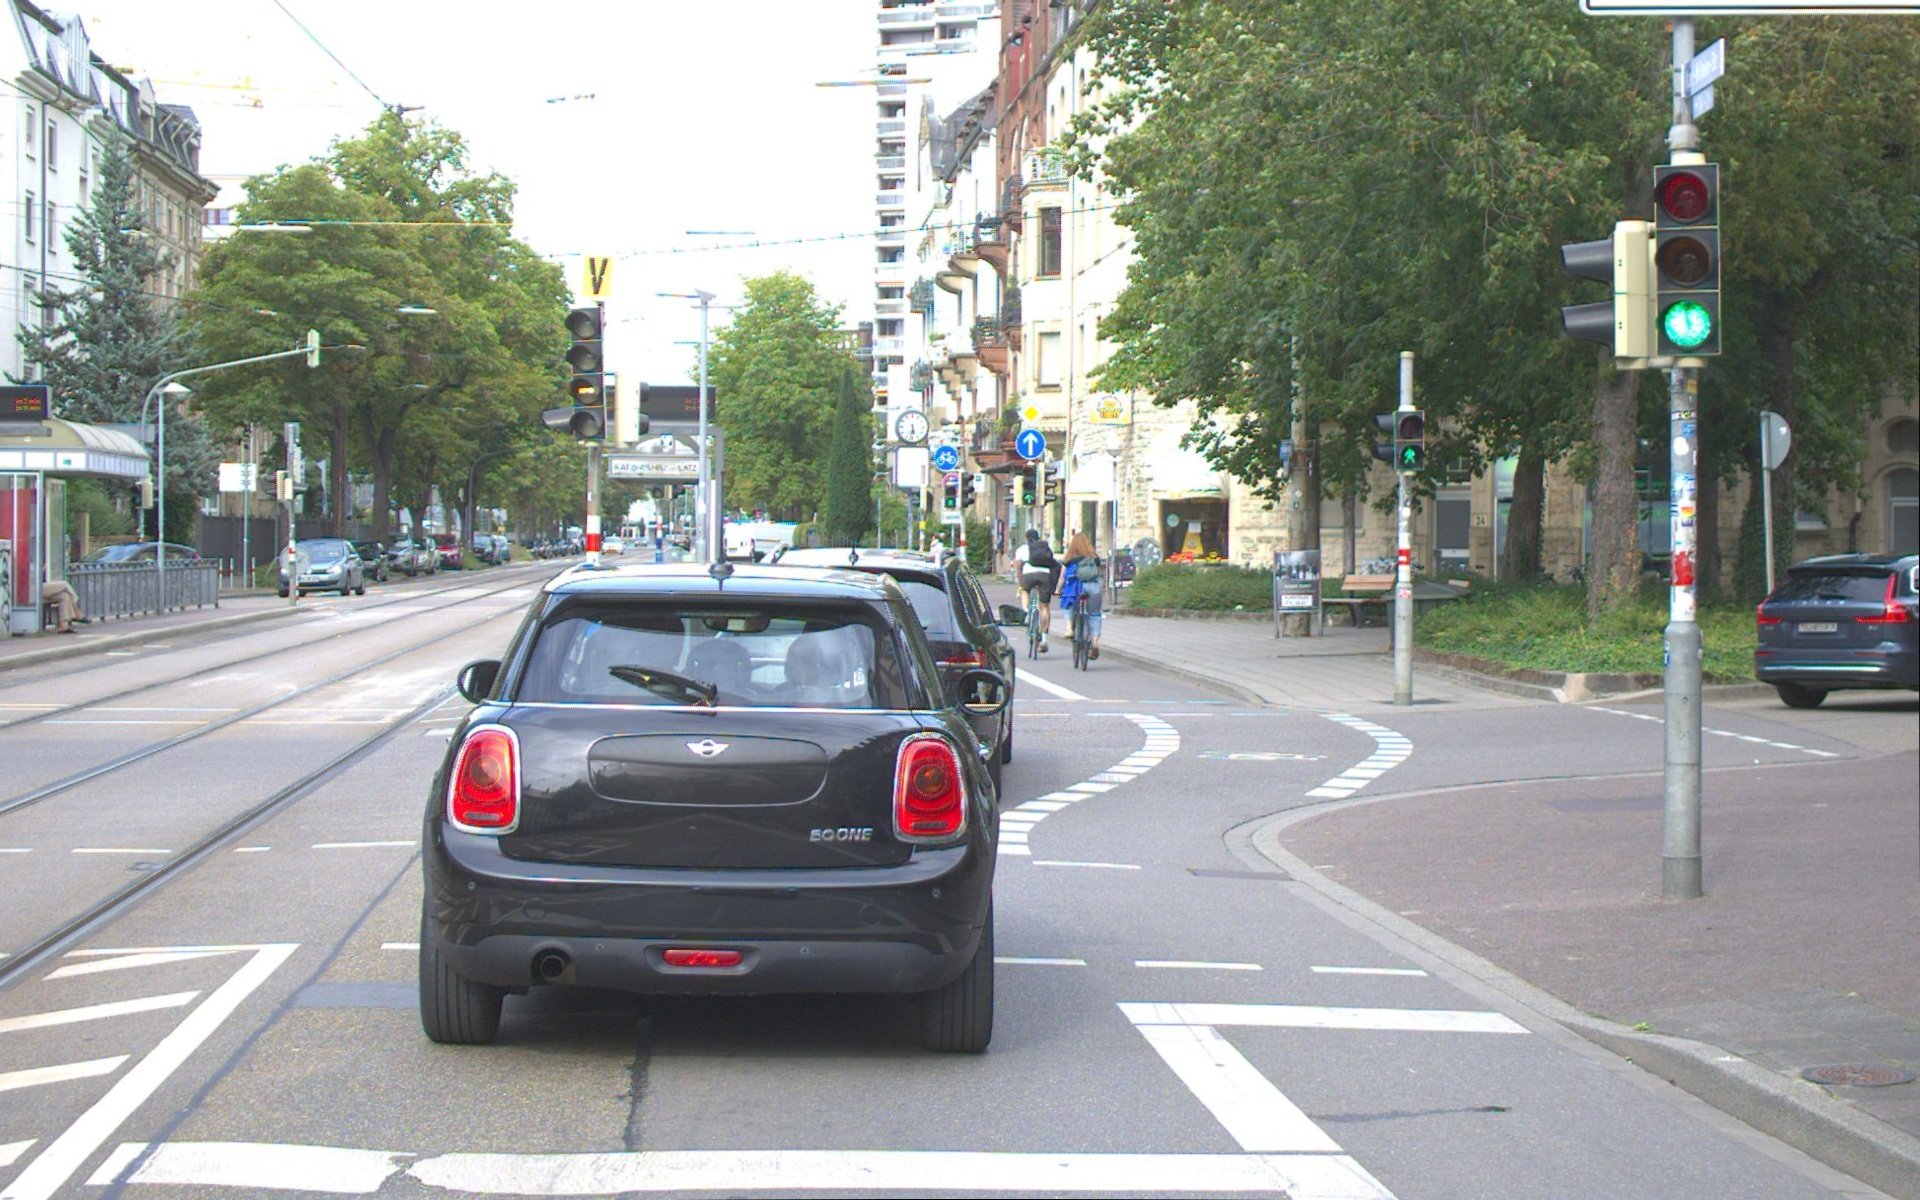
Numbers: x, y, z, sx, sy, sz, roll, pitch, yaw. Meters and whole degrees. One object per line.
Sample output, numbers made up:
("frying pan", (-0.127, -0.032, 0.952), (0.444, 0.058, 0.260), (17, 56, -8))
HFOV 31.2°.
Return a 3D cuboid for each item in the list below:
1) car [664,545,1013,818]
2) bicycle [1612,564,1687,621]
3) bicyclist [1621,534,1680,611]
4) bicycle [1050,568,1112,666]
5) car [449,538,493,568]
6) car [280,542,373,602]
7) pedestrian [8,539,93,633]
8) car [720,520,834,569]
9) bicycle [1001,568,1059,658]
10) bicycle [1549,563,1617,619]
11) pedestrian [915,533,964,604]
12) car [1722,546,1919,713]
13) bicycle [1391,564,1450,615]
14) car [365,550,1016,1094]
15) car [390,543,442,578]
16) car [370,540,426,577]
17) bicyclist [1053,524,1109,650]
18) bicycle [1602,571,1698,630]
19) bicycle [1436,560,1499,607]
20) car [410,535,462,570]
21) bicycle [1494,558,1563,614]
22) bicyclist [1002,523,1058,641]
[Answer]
("car", (-0.712, 0.422, 21.073), (1.927, 1.504, 4.000), (0, 1, -1))
("bicycle", (13.785, -0.153, 68.691), (0.667, 1.124, 1.889), (1, 1, 38))
("bicyclist", (13.143, -0.531, 65.454), (0.615, 1.468, 0.915), (-1, 1, -39))
("bicycle", (1.484, 0.195, 42.447), (0.598, 1.166, 1.697), (0, 1, -4))
("car", (-25.541, -2.474, 179.698), (1.993, 1.546, 4.001), (0, 1, -4))
("car", (-16.186, -0.725, 87.965), (1.751, 1.436, 4.001), (2, 1, -2))
("pedestrian", (-12.715, -0.202, 48.077), (1.058, 1.289, 0.986), (0, 1, -9))
("car", (-8.682, -2.630, 163.277), (5.026, 2.265, 2.396), (-1, 1, -44))
("bicycle", (0.934, 0.169, 46.135), (0.684, 1.166, 1.697), (0, 1, -2))
("bicycle", (12.657, -0.192, 69.845), (0.532, 1.124, 1.889), (1, 1, 38))
("pedestrian", (-0.505, -0.770, 83.303), (0.732, 1.668, 0.833), (-2, 2, 43))
("car", (9.092, 0.224, 31.899), (4.467, 1.436, 1.756), (-1, 1, -44))
("bicycle", (9.754, -0.222, 72.754), (0.449, 1.051, 1.645), (1, 1, 38))
("car", (-0.778, 0.588, 11.522), (1.751, 1.436, 4.000), (2, 1, -1))
("car", (-21.791, -1.604, 137.832), (1.766, 1.390, 4.001), (0, 1, -5))
("car", (-21.272, -1.573, 130.174), (1.766, 1.390, 4.001), (0, 1, -5))
("bicyclist", (1.488, -0.169, 42.437), (0.594, 1.545, 1.014), (0, 1, -4))
("bicycle", (13.128, 0.001, 65.482), (0.615, 1.073, 1.820), (-1, 1, -39))
("bicycle", (10.628, -0.351, 71.962), (0.532, 0.969, 1.645), (1, 1, 38))
("car", (-23.894, -2.173, 156.783), (1.993, 1.546, 4.001), (0, 1, -4))
("bicycle", (11.684, -0.289, 70.616), (0.532, 1.124, 1.889), (1, 1, 38))
("bicyclist", (0.935, -0.248, 46.068), (0.684, 1.558, 0.998), (0, 1, -2))
